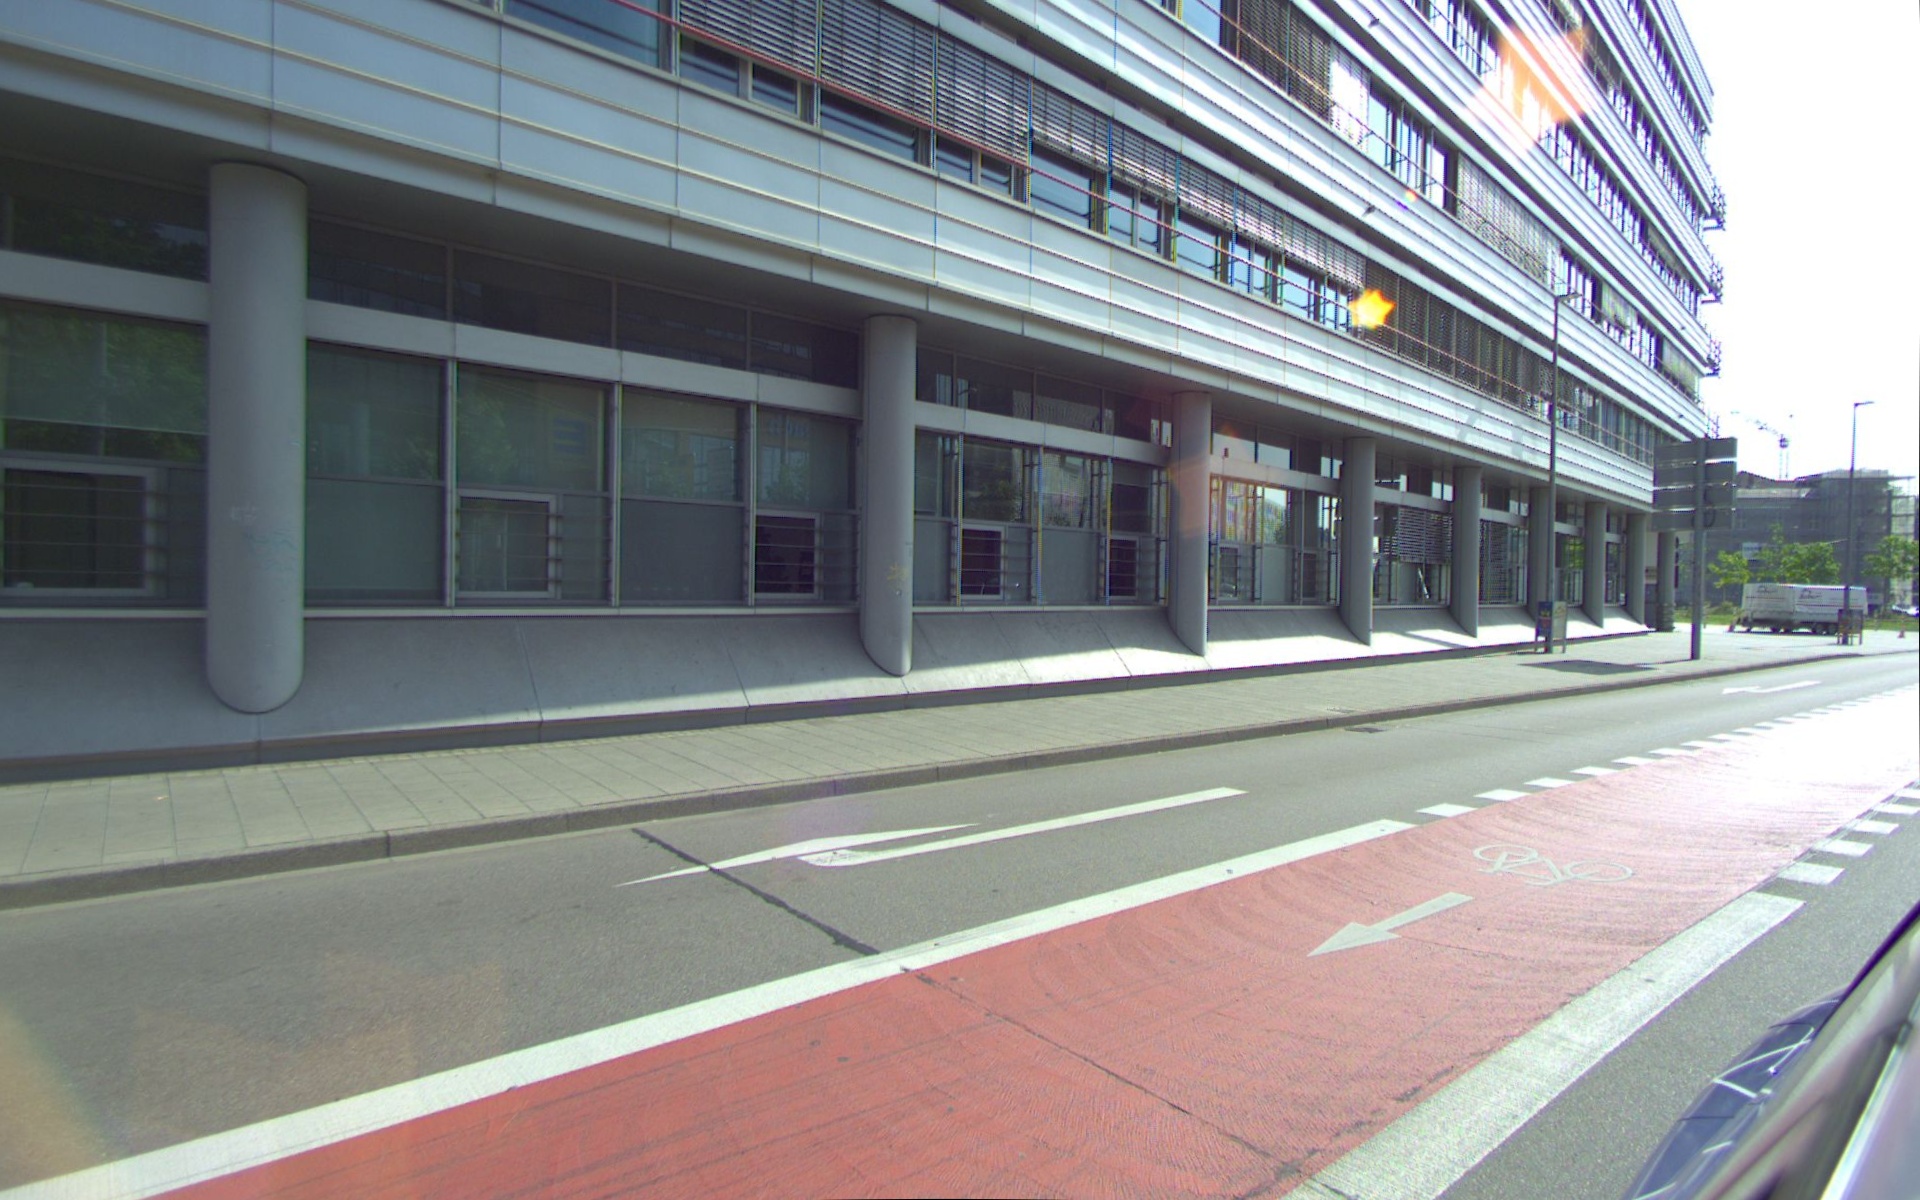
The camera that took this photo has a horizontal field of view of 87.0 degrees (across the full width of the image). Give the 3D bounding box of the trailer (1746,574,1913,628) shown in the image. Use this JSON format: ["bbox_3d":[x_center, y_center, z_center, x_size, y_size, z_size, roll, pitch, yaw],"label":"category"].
[{"bbox_3d":[37.793,0.035,44.063,5.825,2.178,2.402,1,1,-11],"label":"trailer"}]
